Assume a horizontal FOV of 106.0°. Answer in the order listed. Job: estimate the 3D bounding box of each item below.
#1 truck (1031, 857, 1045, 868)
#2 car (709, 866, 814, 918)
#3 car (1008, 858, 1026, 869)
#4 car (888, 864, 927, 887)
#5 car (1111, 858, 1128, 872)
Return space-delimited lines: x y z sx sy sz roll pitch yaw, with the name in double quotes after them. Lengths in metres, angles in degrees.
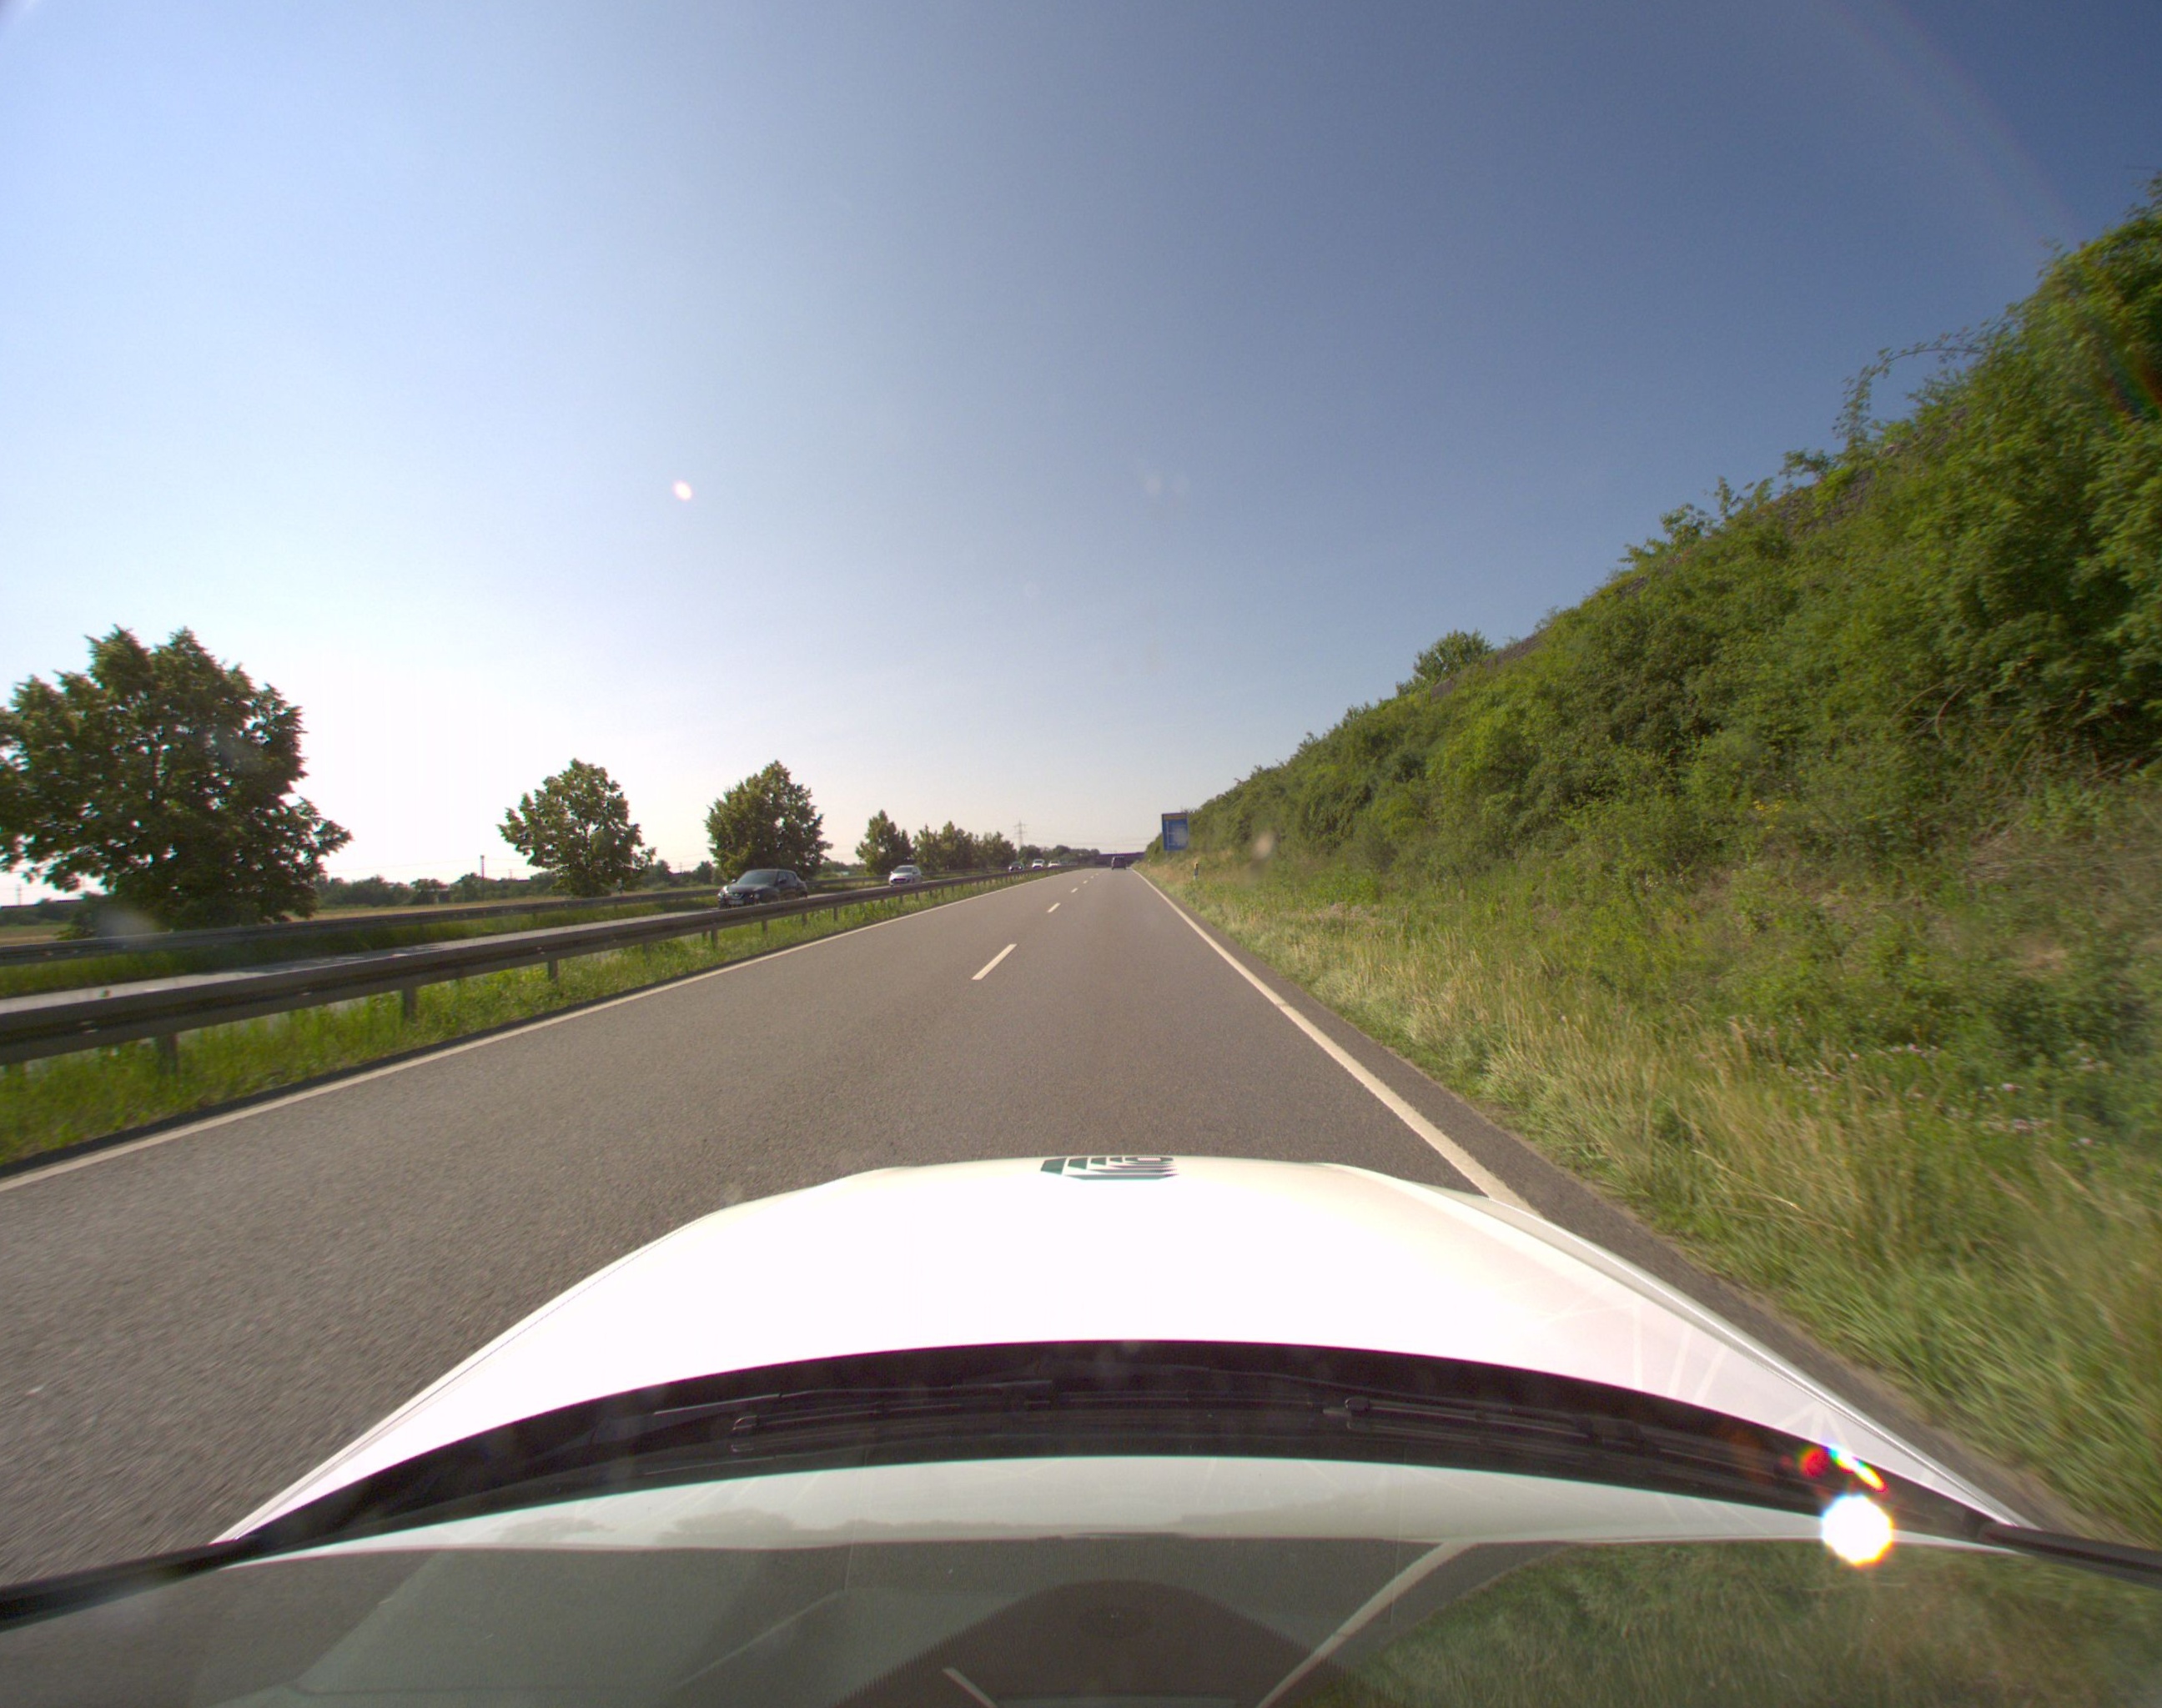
-7.523 1.425 141.833 1.915 1.840 5.295 -1 0 3 "truck"
-11.000 1.263 28.387 1.683 1.541 4.248 -2 0 4 "car"
-8.865 1.301 113.062 1.832 1.472 4.462 -2 0 3 "car"
-11.981 1.443 56.467 1.683 1.437 3.941 -2 0 2 "car"
4.791 1.329 101.865 1.841 1.644 4.006 -2 -1 6 "car"
